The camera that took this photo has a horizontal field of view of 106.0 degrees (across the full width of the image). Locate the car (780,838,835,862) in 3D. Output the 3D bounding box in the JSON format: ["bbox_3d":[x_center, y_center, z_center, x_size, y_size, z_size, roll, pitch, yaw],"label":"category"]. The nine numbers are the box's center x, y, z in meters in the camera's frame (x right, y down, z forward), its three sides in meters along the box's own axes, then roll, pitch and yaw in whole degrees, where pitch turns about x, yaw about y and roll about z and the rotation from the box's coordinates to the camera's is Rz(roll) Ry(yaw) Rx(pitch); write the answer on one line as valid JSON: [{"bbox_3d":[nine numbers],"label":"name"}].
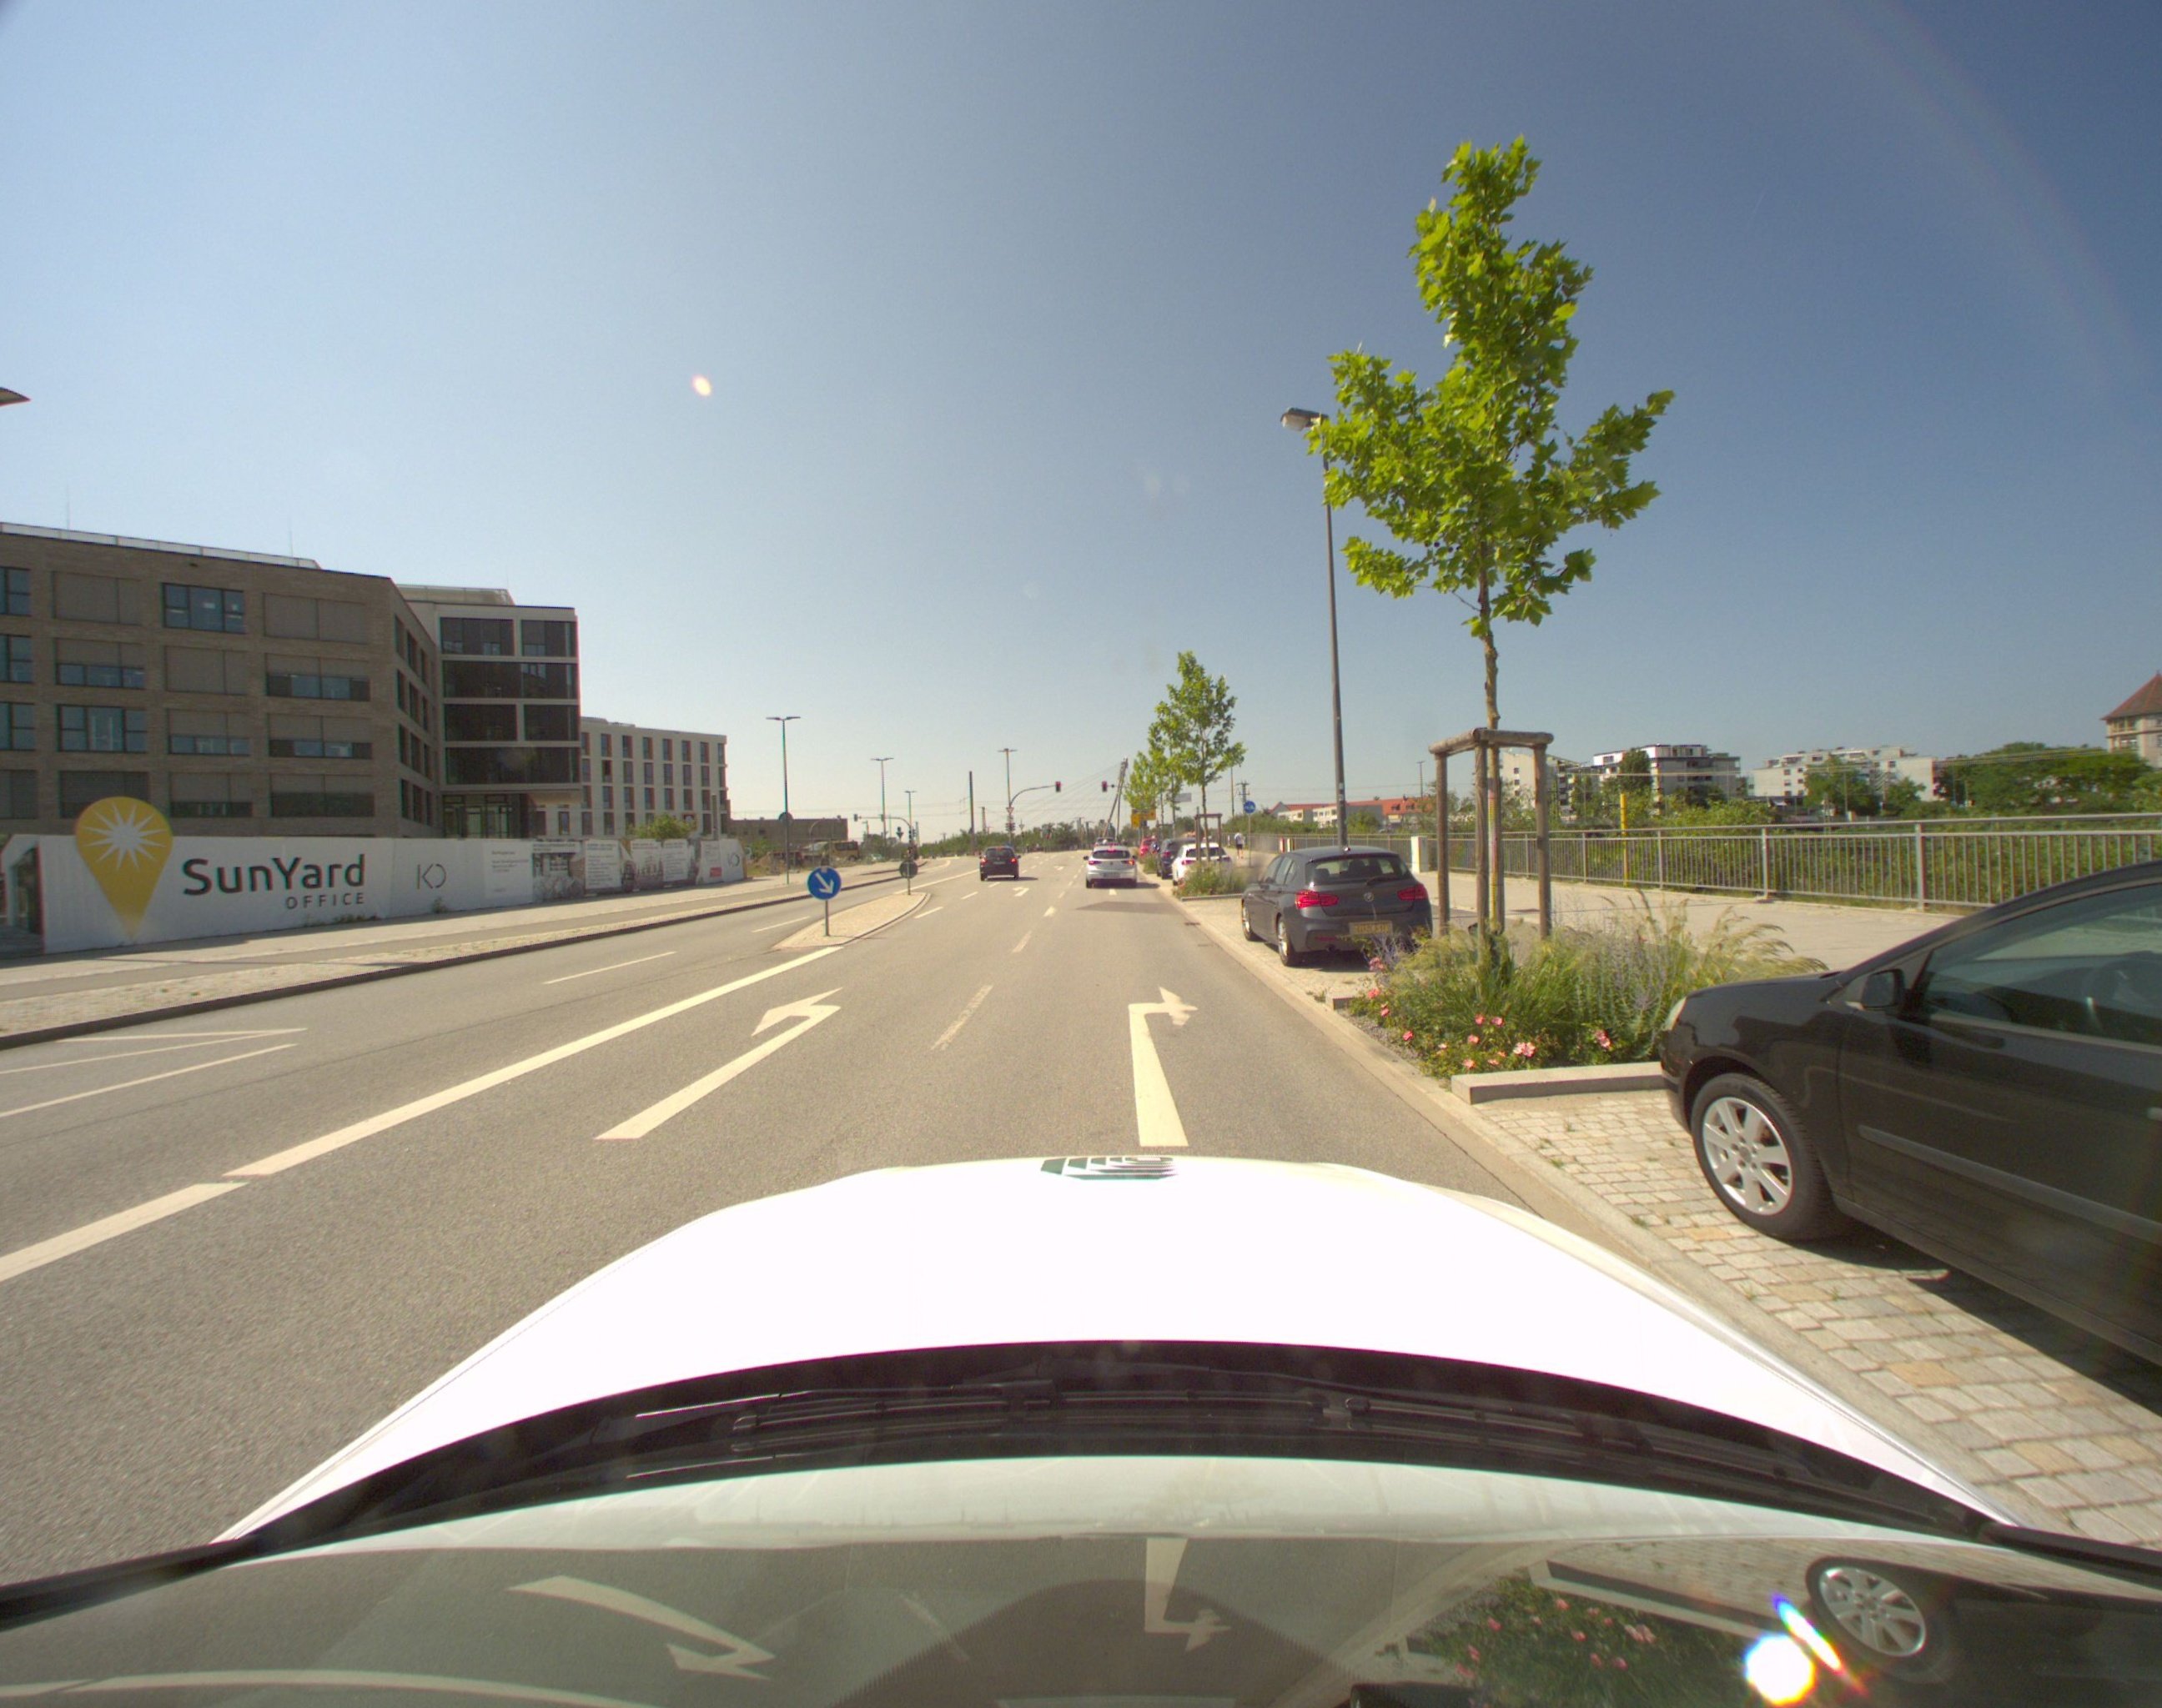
[{"bbox_3d":[-23.611,-0.376,70.497,1.974,2.013,4.025,-1,0,40],"label":"car"}]

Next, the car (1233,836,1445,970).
[{"bbox_3d":[3.299,0.570,11.289,1.697,1.401,4.272,-3,-1,3],"label":"car"}]

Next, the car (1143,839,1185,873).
[{"bbox_3d":[4.340,0.087,43.104,1.771,1.503,4.002,-6,0,2],"label":"car"}]

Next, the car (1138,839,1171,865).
[{"bbox_3d":[4.609,-0.128,51.681,1.771,1.503,4.002,-3,0,2],"label":"car"}]

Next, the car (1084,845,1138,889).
[{"bbox_3d":[1.077,0.432,29.571,1.771,1.442,4.002,-1,0,2],"label":"car"}]

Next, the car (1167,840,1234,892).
[{"bbox_3d":[3.880,0.351,26.976,1.690,1.475,4.208,-3,0,2],"label":"car"}]

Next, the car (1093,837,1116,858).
[{"bbox_3d":[1.928,-0.560,65.734,1.771,1.568,4.002,-2,1,2],"label":"car"}]

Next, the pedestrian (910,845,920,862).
[{"bbox_3d":[-16.255,-0.053,79.752,0.842,1.646,0.827,-1,0,-4],"label":"pedestrian"}]

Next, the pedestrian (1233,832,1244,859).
[{"bbox_3d":[9.500,-0.507,49.132,0.531,1.575,0.524,0,-1,1],"label":"pedestrian"}]

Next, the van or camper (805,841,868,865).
[{"bbox_3d":[-20.523,-0.056,68.588,1.975,1.897,4.745,-2,-2,44],"label":"van or camper"}]

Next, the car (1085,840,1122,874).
[{"bbox_3d":[1.165,0.120,41.635,1.771,1.568,4.002,-2,1,2],"label":"car"}]

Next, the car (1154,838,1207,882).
[{"bbox_3d":[4.044,0.198,33.486,1.815,1.616,3.614,-3,1,3],"label":"car"}]

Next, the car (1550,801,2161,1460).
[{"bbox_3d":[3.209,0.571,2.033,1.699,1.463,3.952,-3,-1,-1],"label":"car"}]

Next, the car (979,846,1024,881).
[{"bbox_3d":[-3.434,0.401,35.518,1.614,1.416,3.726,-1,0,-1],"label":"car"}]
